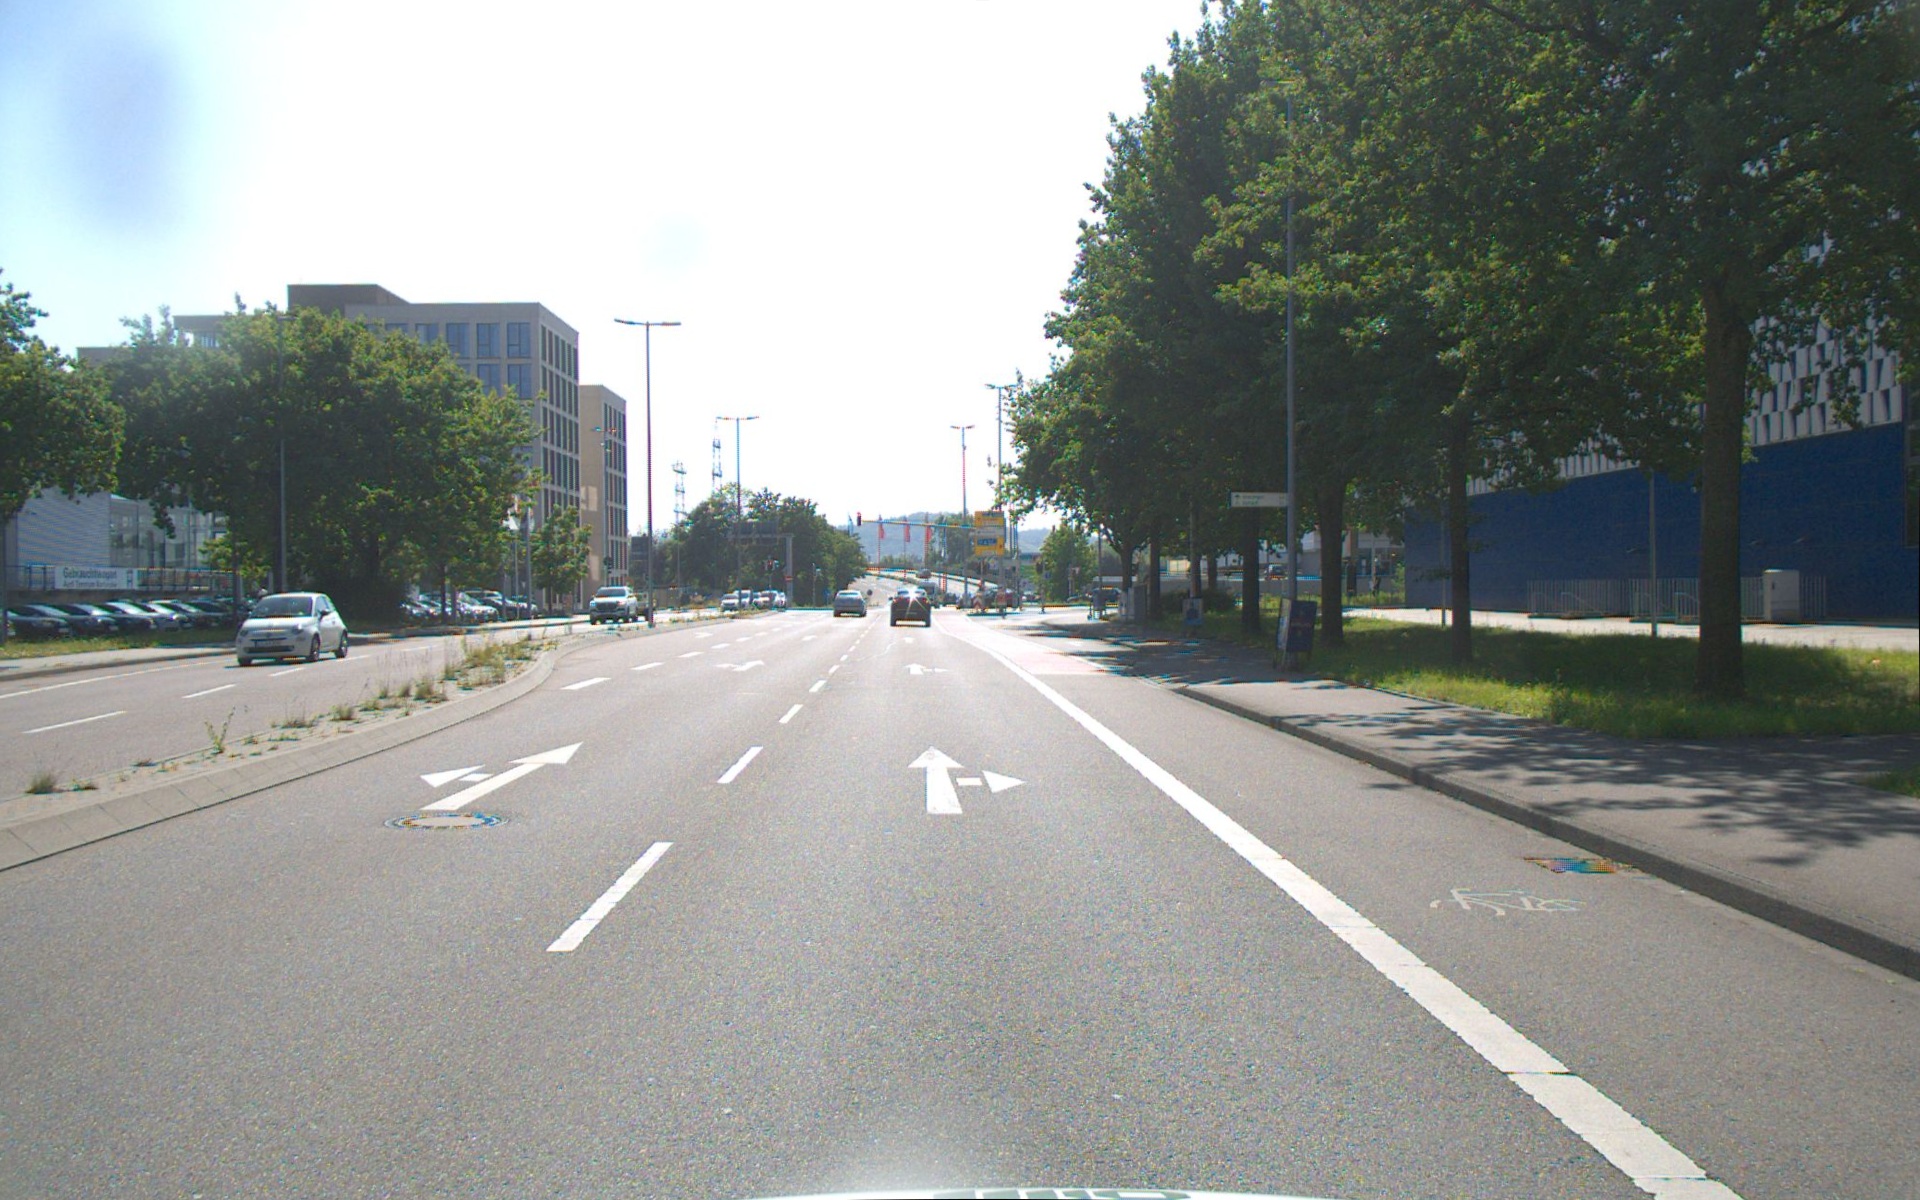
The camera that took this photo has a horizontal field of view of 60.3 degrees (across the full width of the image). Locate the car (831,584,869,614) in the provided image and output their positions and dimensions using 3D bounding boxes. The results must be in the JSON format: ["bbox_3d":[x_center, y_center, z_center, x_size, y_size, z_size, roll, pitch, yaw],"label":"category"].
[{"bbox_3d":[-6.382,-0.064,96.642,1.953,1.713,3.999,-1,0,-1],"label":"car"}]

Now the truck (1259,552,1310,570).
[{"bbox_3d":[39.858,-4.790,203.326,5.788,2.048,2.000,1,1,1],"label":"truck"}]

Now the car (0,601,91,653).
[{"bbox_3d":[-27.186,0.779,47.005,3.906,1.400,1.924,-1,0,-1],"label":"car"}]

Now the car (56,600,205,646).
[{"bbox_3d":[-27.308,0.742,54.558,3.906,1.400,1.924,-1,0,-1],"label":"car"}]

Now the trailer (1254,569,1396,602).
[{"bbox_3d":[31.101,-1.232,141.275,11.624,2.512,2.001,1,1,2],"label":"trailer"}]

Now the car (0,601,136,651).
[{"bbox_3d":[-27.261,0.785,49.781,3.906,1.400,1.924,-1,0,-1],"label":"car"}]

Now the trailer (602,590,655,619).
[{"bbox_3d":[-17.612,0.221,88.152,1.954,1.478,5.768,-1,0,-3],"label":"trailer"}]

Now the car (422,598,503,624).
[{"bbox_3d":[-27.813,0.622,92.577,3.907,1.366,1.999,-1,0,-3],"label":"car"}]

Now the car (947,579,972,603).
[{"bbox_3d":[-0.023,-0.711,131.763,1.723,1.789,3.600,1,2,-4],"label":"car"}]

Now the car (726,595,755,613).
[{"bbox_3d":[-19.174,0.348,144.386,1.778,1.489,4.002,-1,0,3],"label":"car"}]

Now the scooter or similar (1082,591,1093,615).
[{"bbox_3d":[6.708,0.163,87.059,0.343,1.255,1.312,-1,0,12],"label":"scooter or similar"}]

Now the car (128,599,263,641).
[{"bbox_3d":[-27.337,0.697,59.209,3.906,1.400,1.924,-1,0,-1],"label":"car"}]

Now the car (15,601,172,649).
[{"bbox_3d":[-27.205,0.761,52.017,3.906,1.400,1.924,-1,0,-1],"label":"car"}]

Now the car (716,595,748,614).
[{"bbox_3d":[-18.862,0.388,136.906,1.852,1.489,4.002,-1,0,3],"label":"car"}]

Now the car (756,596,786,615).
[{"bbox_3d":[-15.780,0.424,138.171,1.778,1.489,4.002,-1,0,3],"label":"car"}]

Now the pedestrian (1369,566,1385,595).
[{"bbox_3d":[25.909,-1.219,102.825,0.616,1.801,0.803,-1,0,-12],"label":"pedestrian"}]

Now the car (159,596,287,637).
[{"bbox_3d":[-27.497,0.610,61.796,3.906,1.400,1.924,-1,0,-1],"label":"car"}]

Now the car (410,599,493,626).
[{"bbox_3d":[-27.716,0.666,90.190,3.907,1.366,1.999,-1,0,-3],"label":"car"}]

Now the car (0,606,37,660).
[{"bbox_3d":[-27.232,0.908,44.292,3.906,1.400,1.924,-1,0,-1],"label":"car"}]

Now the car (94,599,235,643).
[{"bbox_3d":[-27.372,0.703,57.024,3.906,1.400,1.924,-1,0,-1],"label":"car"}]

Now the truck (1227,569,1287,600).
[{"bbox_3d":[25.362,-1.355,141.482,4.778,2.466,2.001,1,1,4],"label":"truck"}]

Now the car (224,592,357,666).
[{"bbox_3d":[-14.701,0.599,36.501,1.621,1.489,3.547,-2,0,-4],"label":"car"}]

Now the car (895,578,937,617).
[{"bbox_3d":[-2.030,-0.123,75.257,1.771,1.668,4.456,-1,0,-3],"label":"car"}]

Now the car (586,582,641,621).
[{"bbox_3d":[-17.298,0.067,82.787,1.954,1.864,4.934,-1,0,-3],"label":"car"}]
